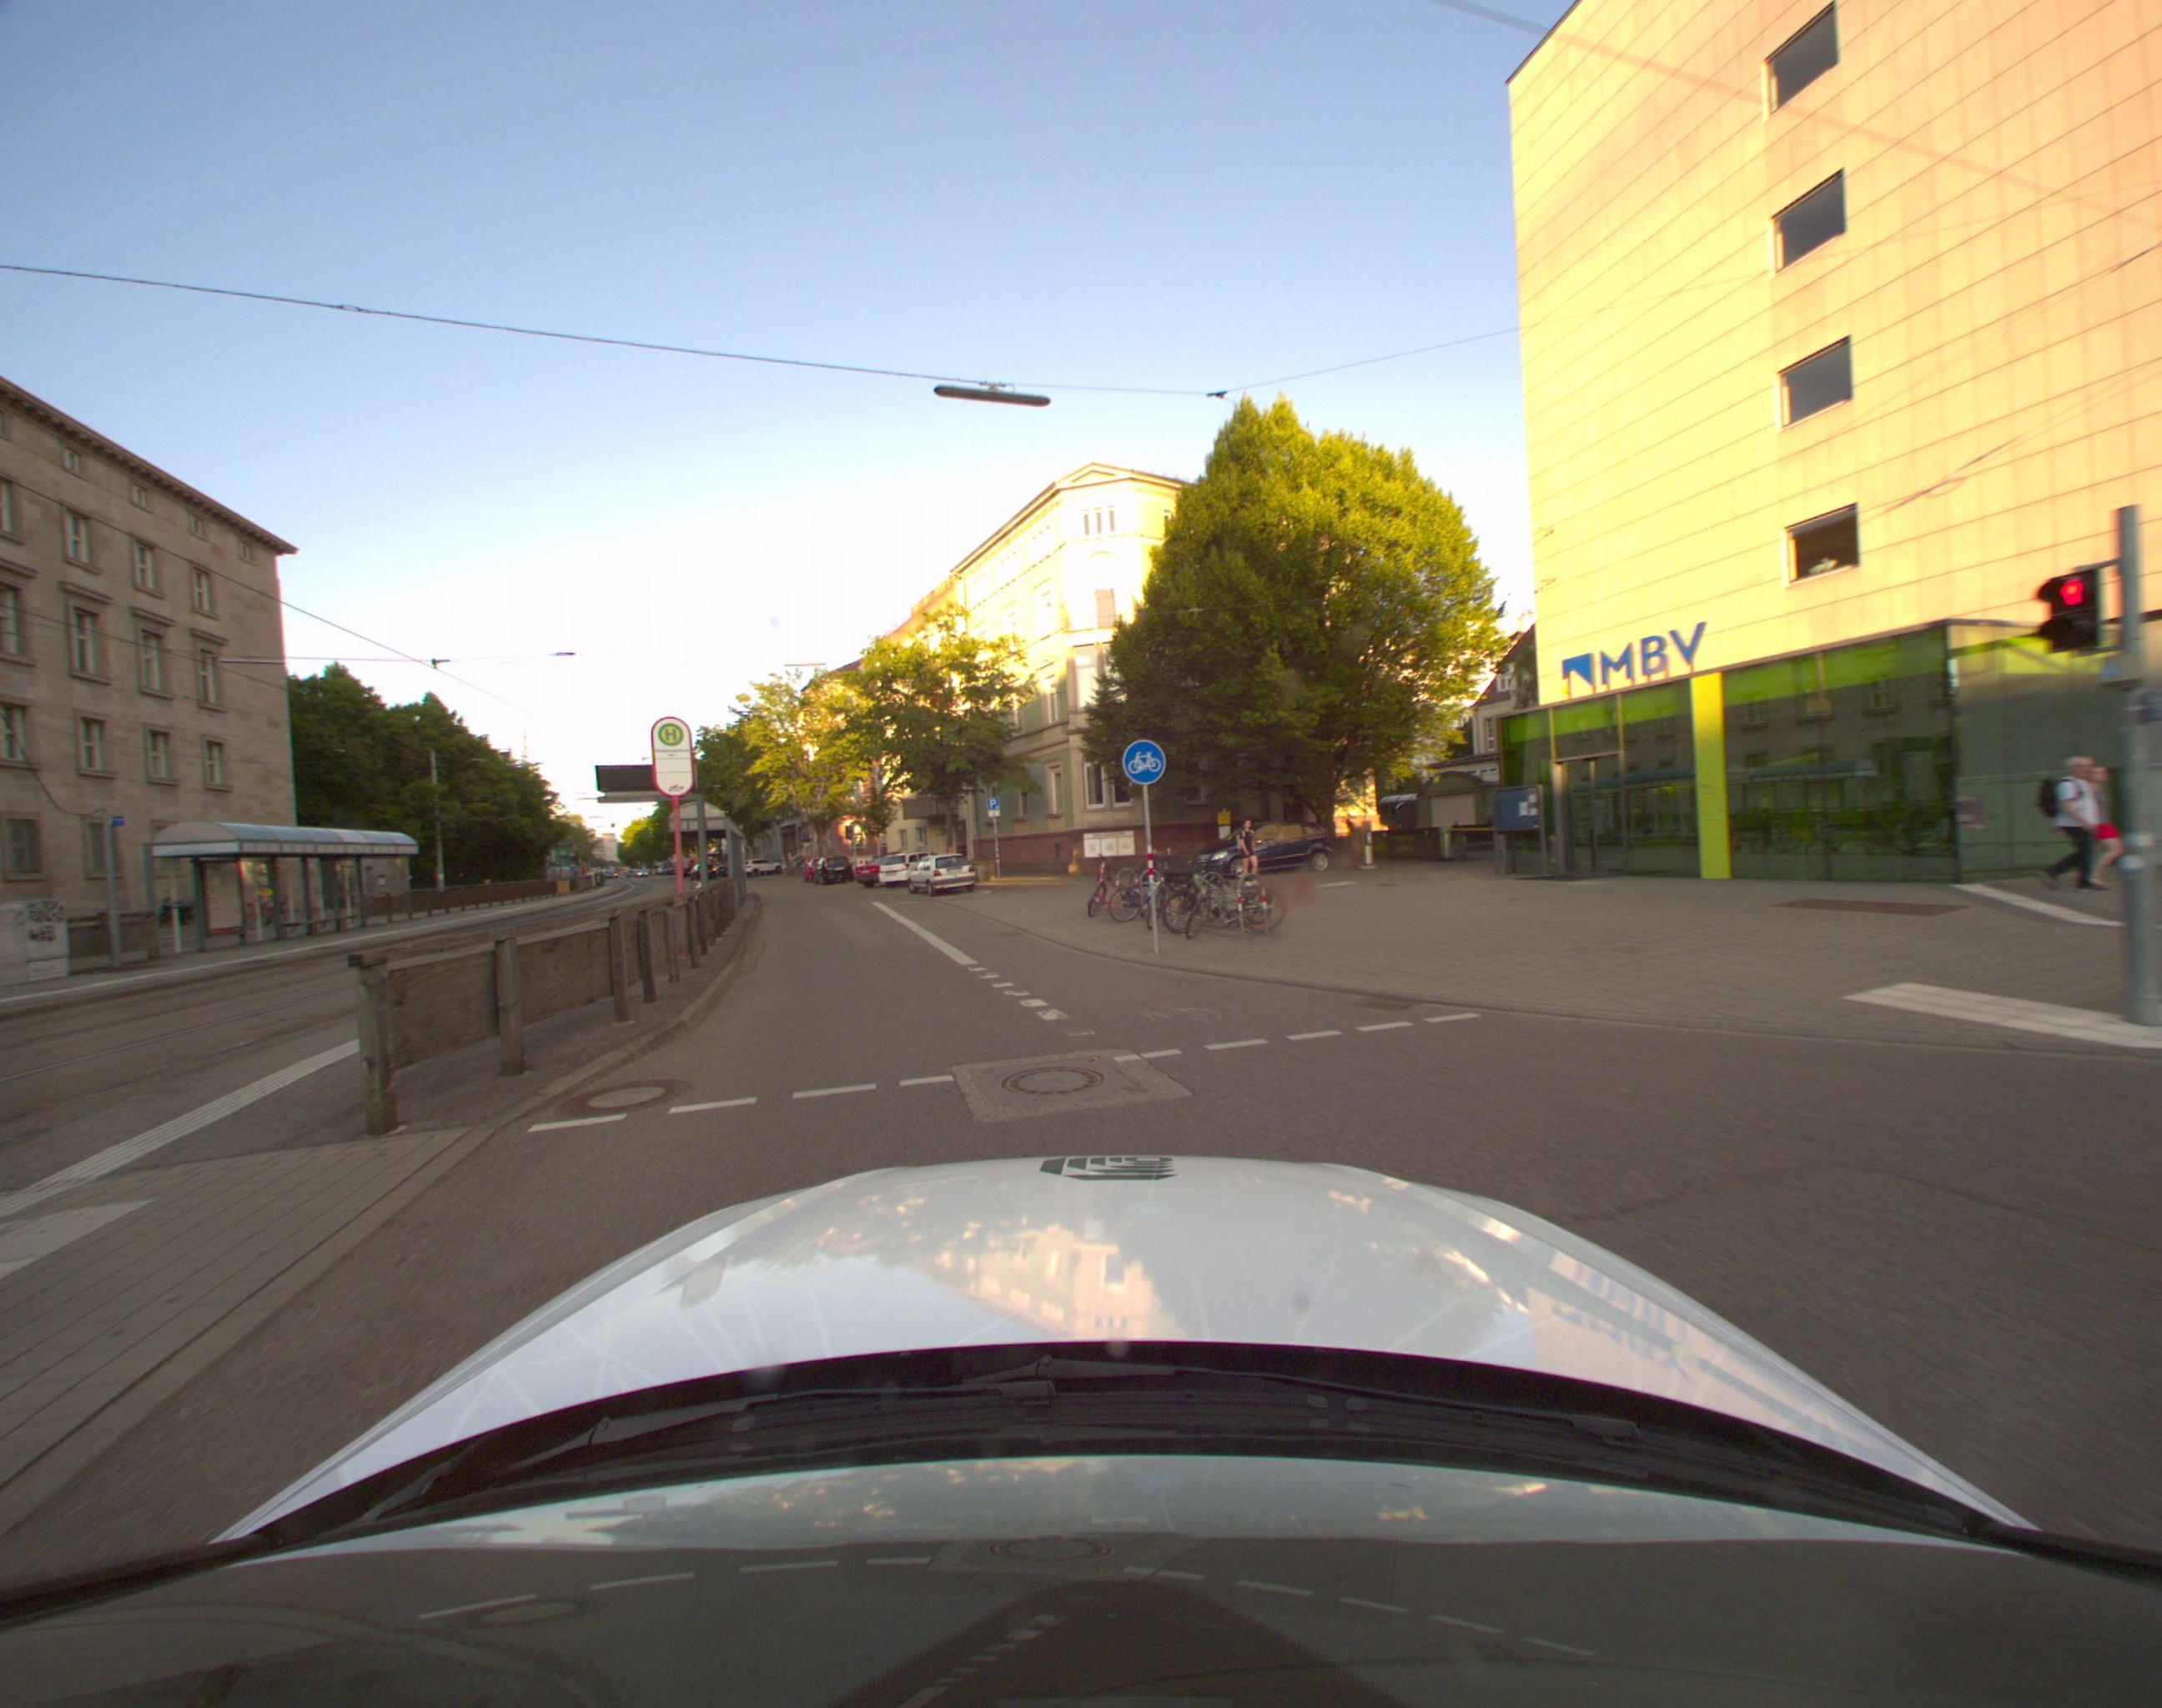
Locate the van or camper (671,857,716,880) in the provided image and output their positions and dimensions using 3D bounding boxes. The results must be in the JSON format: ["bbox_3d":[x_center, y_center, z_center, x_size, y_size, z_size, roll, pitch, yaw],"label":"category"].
[{"bbox_3d":[-55.055,2.062,115.832,2.061,2.529,5.583,-5,2,24],"label":"van or camper"}]

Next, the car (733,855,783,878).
[{"bbox_3d":[-29.676,1.159,74.942,1.653,1.626,3.981,-3,4,28],"label":"car"}]

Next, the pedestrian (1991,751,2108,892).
[{"bbox_3d":[12.742,-0.423,10.723,0.708,1.767,0.731,-3,0,-18],"label":"pedestrian"}]

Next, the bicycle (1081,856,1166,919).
[{"bbox_3d":[0.854,0.656,16.575,1.529,1.162,0.740,-3,1,-17],"label":"bicycle"}]

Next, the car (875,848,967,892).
[{"bbox_3d":[-7.067,0.683,36.367,1.700,1.725,4.236,-2,1,28],"label":"car"}]

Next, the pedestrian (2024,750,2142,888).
[{"bbox_3d":[13.437,-0.462,10.934,0.708,1.767,0.742,-3,0,-18],"label":"pedestrian"}]

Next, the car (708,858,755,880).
[{"bbox_3d":[-34.943,1.506,81.574,1.879,1.668,3.977,-5,2,22],"label":"car"}]

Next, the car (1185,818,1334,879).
[{"bbox_3d":[5.386,-0.196,24.652,3.996,1.573,1.792,-4,2,-19],"label":"car"}]

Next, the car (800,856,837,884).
[{"bbox_3d":[-16.575,0.985,51.261,1.573,1.535,3.661,-6,2,-26],"label":"car"}]

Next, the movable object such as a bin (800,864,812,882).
[{"bbox_3d":[-18.808,1.309,55.686,0.715,1.153,0.584,-3,0,-19],"label":"movable object such as a bin"}]

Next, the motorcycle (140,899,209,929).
[{"bbox_3d":[-39.216,2.566,35.269,0.700,1.074,2.637,-4,1,-18],"label":"motorcycle"}]

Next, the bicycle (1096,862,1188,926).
[{"bbox_3d":[1.162,0.740,15.544,1.554,1.074,0.740,-3,1,-17],"label":"bicycle"}]

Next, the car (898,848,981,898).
[{"bbox_3d":[-5.280,0.681,29.932,1.690,1.552,3.963,-7,2,-29],"label":"car"}]

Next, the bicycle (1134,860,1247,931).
[{"bbox_3d":[1.898,0.694,14.127,1.759,1.074,0.740,-3,1,-17],"label":"bicycle"}]

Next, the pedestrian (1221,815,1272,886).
[{"bbox_3d":[4.291,-0.083,21.140,0.711,1.767,0.979,-4,1,-33],"label":"pedestrian"}]

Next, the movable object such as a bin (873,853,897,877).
[{"bbox_3d":[-12.830,0.740,53.169,1.080,1.502,1.305,-3,0,-33],"label":"movable object such as a bin"}]

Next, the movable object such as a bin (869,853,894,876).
[{"bbox_3d":[-13.537,0.695,55.281,1.148,1.502,1.582,-3,1,-32],"label":"movable object such as a bin"}]

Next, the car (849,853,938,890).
[{"bbox_3d":[-8.781,0.795,38.474,1.624,1.454,4.237,-3,1,29],"label":"car"}]

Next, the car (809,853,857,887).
[{"bbox_3d":[-14.046,0.903,45.991,1.754,1.631,4.050,-6,2,-28],"label":"car"}]

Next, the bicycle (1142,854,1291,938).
[{"bbox_3d":[2.201,0.649,13.252,2.235,1.132,0.740,-5,1,-17],"label":"bicycle"}]

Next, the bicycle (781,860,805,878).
[{"bbox_3d":[-23.139,1.204,65.524,0.594,1.266,1.930,-4,1,24],"label":"bicycle"}]

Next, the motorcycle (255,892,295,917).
[{"bbox_3d":[-33.132,2.073,33.494,0.478,0.928,1.501,-3,1,-18],"label":"motorcycle"}]

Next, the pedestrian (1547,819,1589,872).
[{"bbox_3d":[11.577,-0.205,19.371,0.543,1.208,0.612,-3,0,-17],"label":"pedestrian"}]

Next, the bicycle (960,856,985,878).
[{"bbox_3d":[-5.599,0.658,42.102,0.655,1.074,1.540,-3,1,-32],"label":"bicycle"}]

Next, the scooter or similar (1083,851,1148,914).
[{"bbox_3d":[0.751,0.605,17.719,1.203,1.225,0.587,-5,1,-18],"label":"scooter or similar"}]

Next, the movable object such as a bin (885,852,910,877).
[{"bbox_3d":[-11.724,0.664,52.125,1.148,1.502,1.258,-3,0,-32],"label":"movable object such as a bin"}]

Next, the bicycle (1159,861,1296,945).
[{"bbox_3d":[2.159,0.709,12.159,1.854,1.074,0.744,-4,1,-1],"label":"bicycle"}]
